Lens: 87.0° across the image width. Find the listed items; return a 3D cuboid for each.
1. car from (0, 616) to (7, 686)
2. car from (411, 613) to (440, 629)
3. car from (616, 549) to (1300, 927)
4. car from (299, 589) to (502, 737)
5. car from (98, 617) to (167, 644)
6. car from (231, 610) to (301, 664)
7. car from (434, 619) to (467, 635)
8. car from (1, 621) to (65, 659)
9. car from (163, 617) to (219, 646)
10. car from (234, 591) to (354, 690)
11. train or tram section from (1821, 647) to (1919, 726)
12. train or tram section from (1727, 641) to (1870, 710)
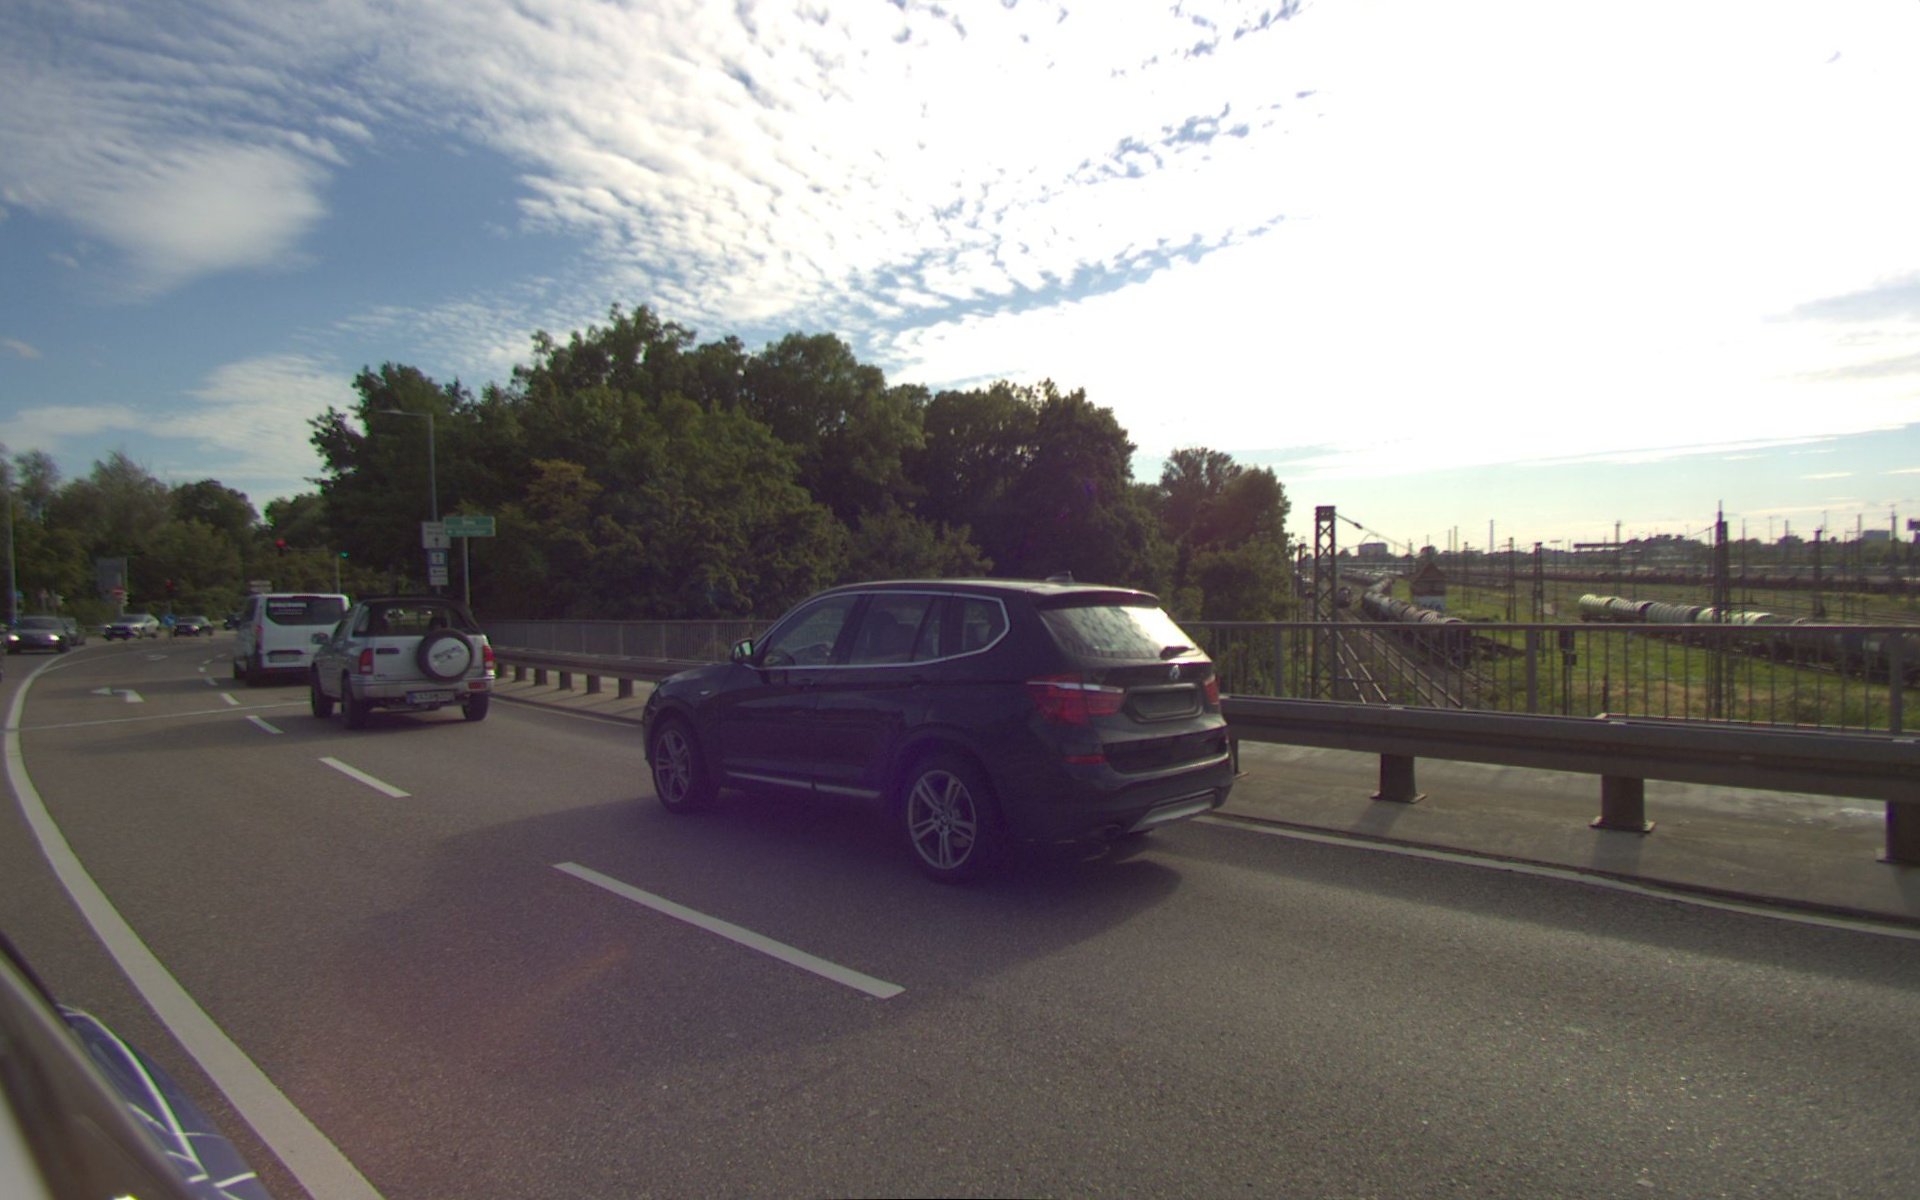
[{"bbox_3d":[-21.122,1.092,20.870,1.791,1.518,4.399,0,-1,-39],"label":"car"},{"bbox_3d":[-68.543,2.672,129.758,1.863,1.875,4.004,0,0,-5],"label":"car"},{"bbox_3d":[-0.340,0.652,6.790,4.631,1.678,1.848,-1,-1,44],"label":"car"},{"bbox_3d":[-7.900,0.785,14.135,1.751,1.759,3.843,0,-1,-41],"label":"car"},{"bbox_3d":[-52.912,1.915,64.805,1.966,1.612,4.294,0,0,-17],"label":"car"},{"bbox_3d":[-22.852,1.174,33.263,1.723,1.667,4.462,0,-1,-37],"label":"car"},{"bbox_3d":[-48.310,2.543,95.969,1.789,1.532,4.839,0,-1,-14],"label":"car"},{"bbox_3d":[-35.538,1.507,38.853,1.665,1.333,3.790,0,0,-40],"label":"car"},{"bbox_3d":[-56.773,2.267,74.803,1.966,2.029,4.286,0,0,-17],"label":"car"},{"bbox_3d":[-15.190,0.857,22.958,1.959,1.979,5.059,0,-1,-37],"label":"car"},{"bbox_3d":[66.415,6.027,70.658,3.070,4.748,16.656,0,0,17],"label":"train or tram section"},{"bbox_3d":[71.148,6.133,86.560,3.070,4.748,16.656,0,0,17],"label":"train or tram section"}]
